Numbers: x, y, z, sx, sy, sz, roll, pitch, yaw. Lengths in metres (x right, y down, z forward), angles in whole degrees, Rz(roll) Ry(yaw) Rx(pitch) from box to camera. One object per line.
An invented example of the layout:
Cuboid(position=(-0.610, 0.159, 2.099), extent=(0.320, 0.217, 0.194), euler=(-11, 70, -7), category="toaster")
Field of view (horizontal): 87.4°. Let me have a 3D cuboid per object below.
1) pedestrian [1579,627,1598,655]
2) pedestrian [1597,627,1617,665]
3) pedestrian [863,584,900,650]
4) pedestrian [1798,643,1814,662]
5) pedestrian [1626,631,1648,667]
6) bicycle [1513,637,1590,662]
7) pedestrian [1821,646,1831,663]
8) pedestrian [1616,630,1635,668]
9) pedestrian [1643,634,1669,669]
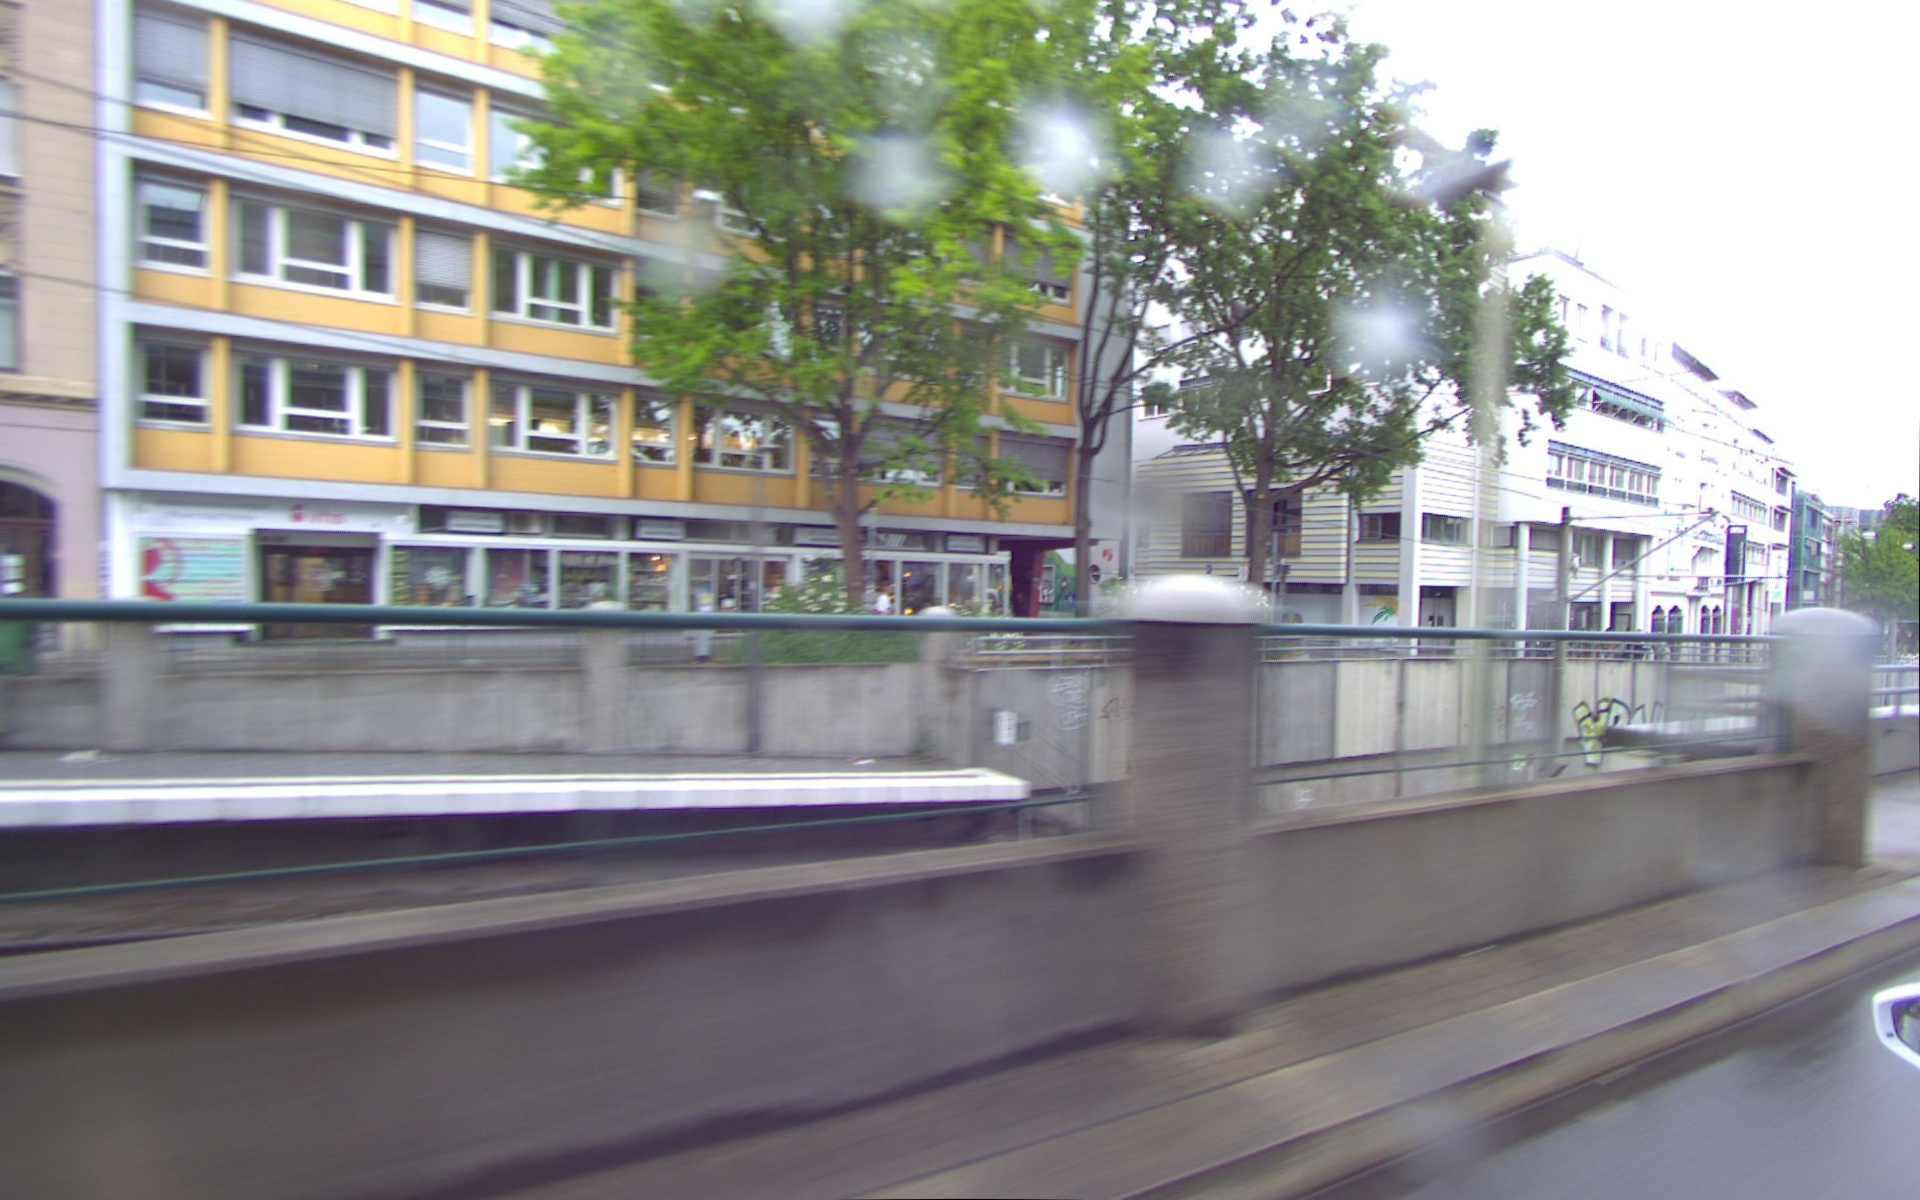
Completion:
Cuboid(position=(32.451, 2.125, 51.878), extent=(0.668, 1.438, 0.602), euler=(2, 0, -38), category="pedestrian")
Cuboid(position=(28.633, 2.019, 44.463), extent=(0.662, 1.637, 0.940), euler=(3, 0, 32), category="pedestrian")
Cuboid(position=(-2.262, 0.494, 28.813), extent=(0.821, 1.873, 0.661), euler=(2, -1, -34), category="pedestrian")
Cuboid(position=(88.324, 5.472, 104.918), extent=(0.946, 1.893, 0.861), euler=(3, 1, -24), category="pedestrian")
Cuboid(position=(33.708, 2.431, 50.008), extent=(0.660, 1.745, 0.610), euler=(3, 0, 8), category="pedestrian")
Cuboid(position=(28.078, 2.317, 47.602), extent=(4.483, 1.057, 1.679), euler=(2, 0, -39), category="bicycle")
Cuboid(position=(88.517, 5.579, 102.655), extent=(0.484, 1.693, 0.658), euler=(3, 0, -43), category="pedestrian")
Cuboid(position=(32.598, 2.406, 49.198), extent=(0.662, 1.809, 0.940), euler=(3, 0, 32), category="pedestrian")
Cuboid(position=(33.958, 2.503, 49.022), extent=(0.660, 1.664, 0.795), euler=(3, 0, 4), category="pedestrian")
